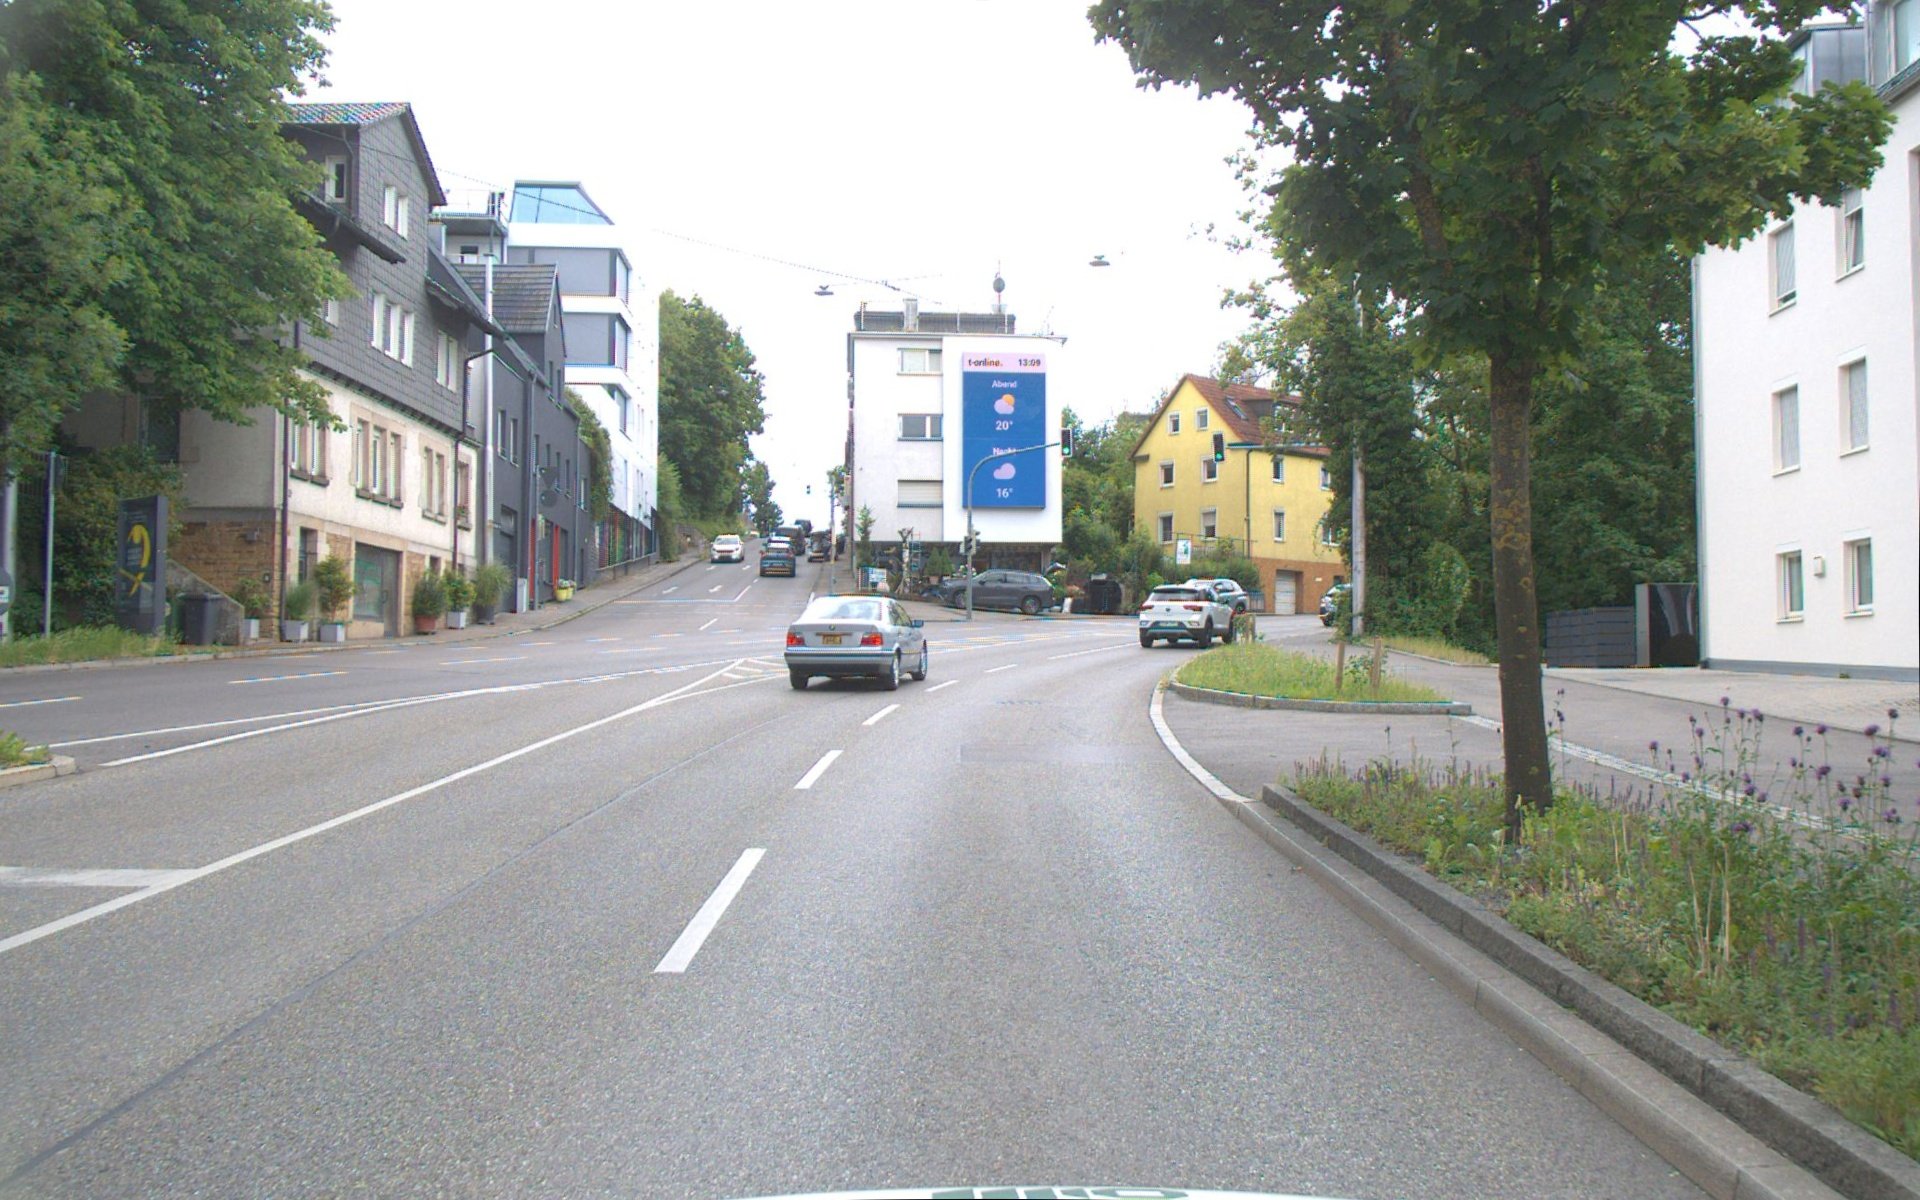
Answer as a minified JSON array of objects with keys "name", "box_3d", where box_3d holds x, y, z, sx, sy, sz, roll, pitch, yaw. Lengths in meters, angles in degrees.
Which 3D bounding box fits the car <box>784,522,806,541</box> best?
[{"name":"car","box_3d":[-14.082,-5.819,141.288,1.745,1.606,3.998,0,2,-4]}]

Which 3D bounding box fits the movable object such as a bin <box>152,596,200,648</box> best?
[{"name":"movable object such as a bin","box_3d":[-15.789,0.454,33.331,0.565,1.037,0.647,0,-2,13]}]

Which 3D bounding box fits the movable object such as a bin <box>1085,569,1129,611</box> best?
[{"name":"movable object such as a bin","box_3d":[6.356,-0.431,71.421,1.725,1.810,1.856,0,0,9]}]

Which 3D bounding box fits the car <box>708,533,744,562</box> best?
[{"name":"car","box_3d":[-13.886,-3.157,98.272,1.846,1.594,4.387,0,3,-4]}]

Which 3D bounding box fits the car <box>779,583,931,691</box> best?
[{"name":"car","box_3d":[-1.544,0.514,25.763,1.670,1.489,4.003,1,1,6]}]

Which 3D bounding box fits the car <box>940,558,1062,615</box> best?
[{"name":"car","box_3d":[1.601,-0.554,66.155,4.597,1.741,2.318,5,3,-4]}]

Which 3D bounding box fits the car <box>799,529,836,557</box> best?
[{"name":"car","box_3d":[-8.643,-3.445,100.684,2.048,1.641,3.998,0,1,-3]}]

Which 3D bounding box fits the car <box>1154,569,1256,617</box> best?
[{"name":"car","box_3d":[9.193,-0.253,61.823,1.866,1.725,4.325,0,0,39]}]

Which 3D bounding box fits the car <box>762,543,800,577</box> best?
[{"name":"car","box_3d":[-8.977,-2.010,83.153,1.745,1.606,3.997,1,1,-4]}]

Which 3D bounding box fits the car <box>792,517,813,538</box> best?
[{"name":"car","box_3d":[-15.814,-7.278,166.577,1.954,2.048,3.997,1,1,-4]}]

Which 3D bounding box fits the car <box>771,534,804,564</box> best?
[{"name":"car","box_3d":[-9.900,-2.951,95.081,1.745,1.606,3.998,1,3,-4]}]

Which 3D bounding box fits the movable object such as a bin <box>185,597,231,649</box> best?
[{"name":"movable object such as a bin","box_3d":[-15.065,0.466,33.153,0.526,1.037,0.647,0,-2,13]}]

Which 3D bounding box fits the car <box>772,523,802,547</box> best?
[{"name":"car","box_3d":[-11.484,-4.317,109.999,1.759,1.490,3.997,1,1,-4]}]

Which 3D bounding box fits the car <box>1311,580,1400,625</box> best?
[{"name":"car","box_3d":[13.664,0.068,57.021,1.748,1.434,3.989,2,1,33]}]

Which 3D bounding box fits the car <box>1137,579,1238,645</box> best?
[{"name":"car","box_3d":[5.914,0.267,42.689,1.743,1.606,4.001,0,1,21]}]
